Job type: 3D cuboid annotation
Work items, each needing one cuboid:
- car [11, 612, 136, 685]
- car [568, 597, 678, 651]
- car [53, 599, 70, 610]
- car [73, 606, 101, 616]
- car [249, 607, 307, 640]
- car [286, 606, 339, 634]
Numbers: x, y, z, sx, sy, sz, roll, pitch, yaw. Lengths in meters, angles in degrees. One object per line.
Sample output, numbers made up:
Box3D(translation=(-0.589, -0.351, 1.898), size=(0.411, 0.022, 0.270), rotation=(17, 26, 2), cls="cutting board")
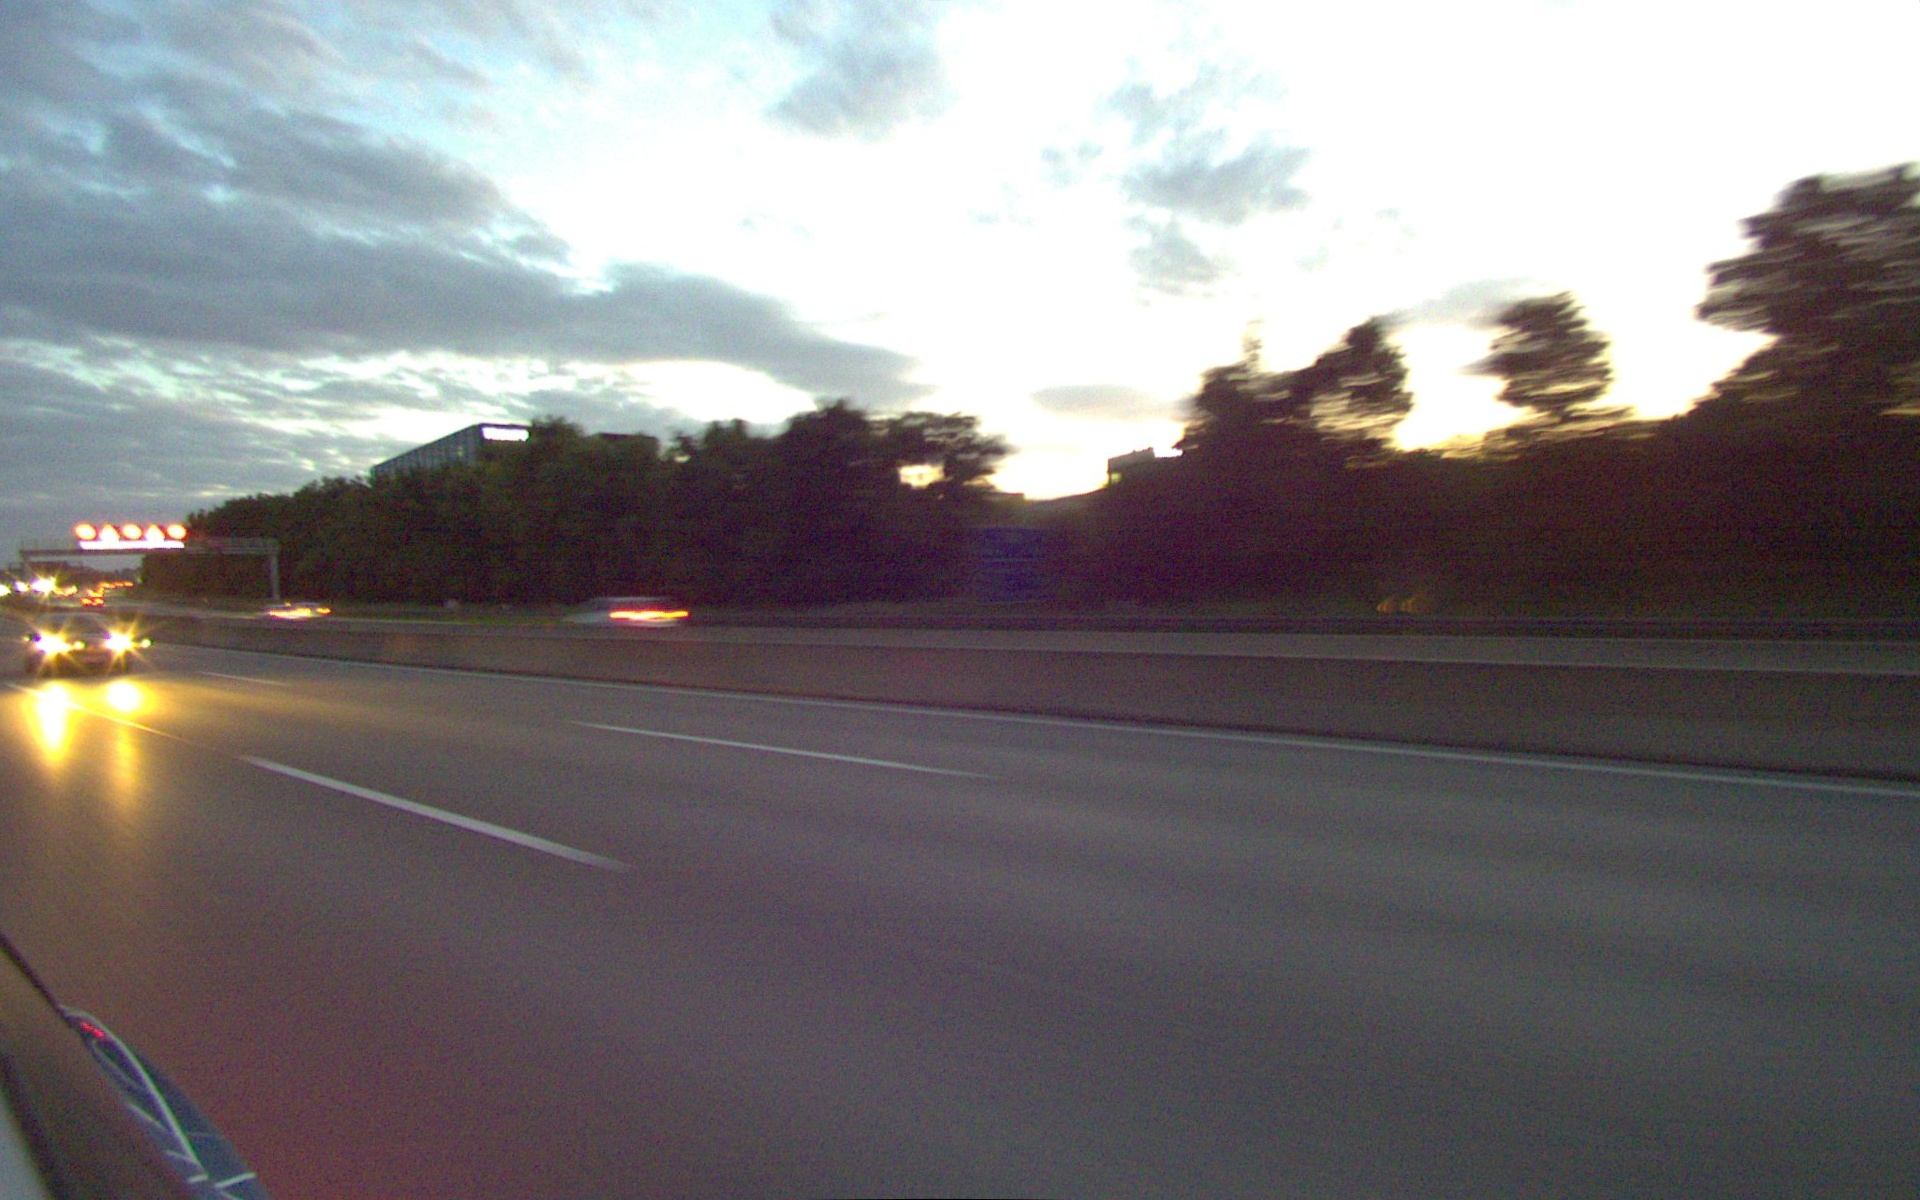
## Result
Box3D(translation=(-21.683, 1.110, 24.705), size=(3.997, 1.491, 1.696), rotation=(1, 2, 40), cls="car")
Box3D(translation=(-13.496, 0.903, 40.401), size=(4.674, 1.907, 1.974), rotation=(1, 2, 39), cls="car")
Box3D(translation=(-175.326, 0.890, 197.538), size=(6.016, 1.881, 1.892), rotation=(1, 2, 43), cls="car")
Box3D(translation=(-113.754, 1.411, 131.856), size=(5.233, 1.235, 2.038), rotation=(1, 2, 42), cls="car")
Box3D(translation=(-44.536, 1.504, 66.049), size=(5.055, 1.907, 1.856), rotation=(1, 2, 41), cls="car")
Box3D(translation=(-49.076, 1.449, 76.681), size=(5.055, 1.907, 1.973), rotation=(1, 2, 41), cls="car")
